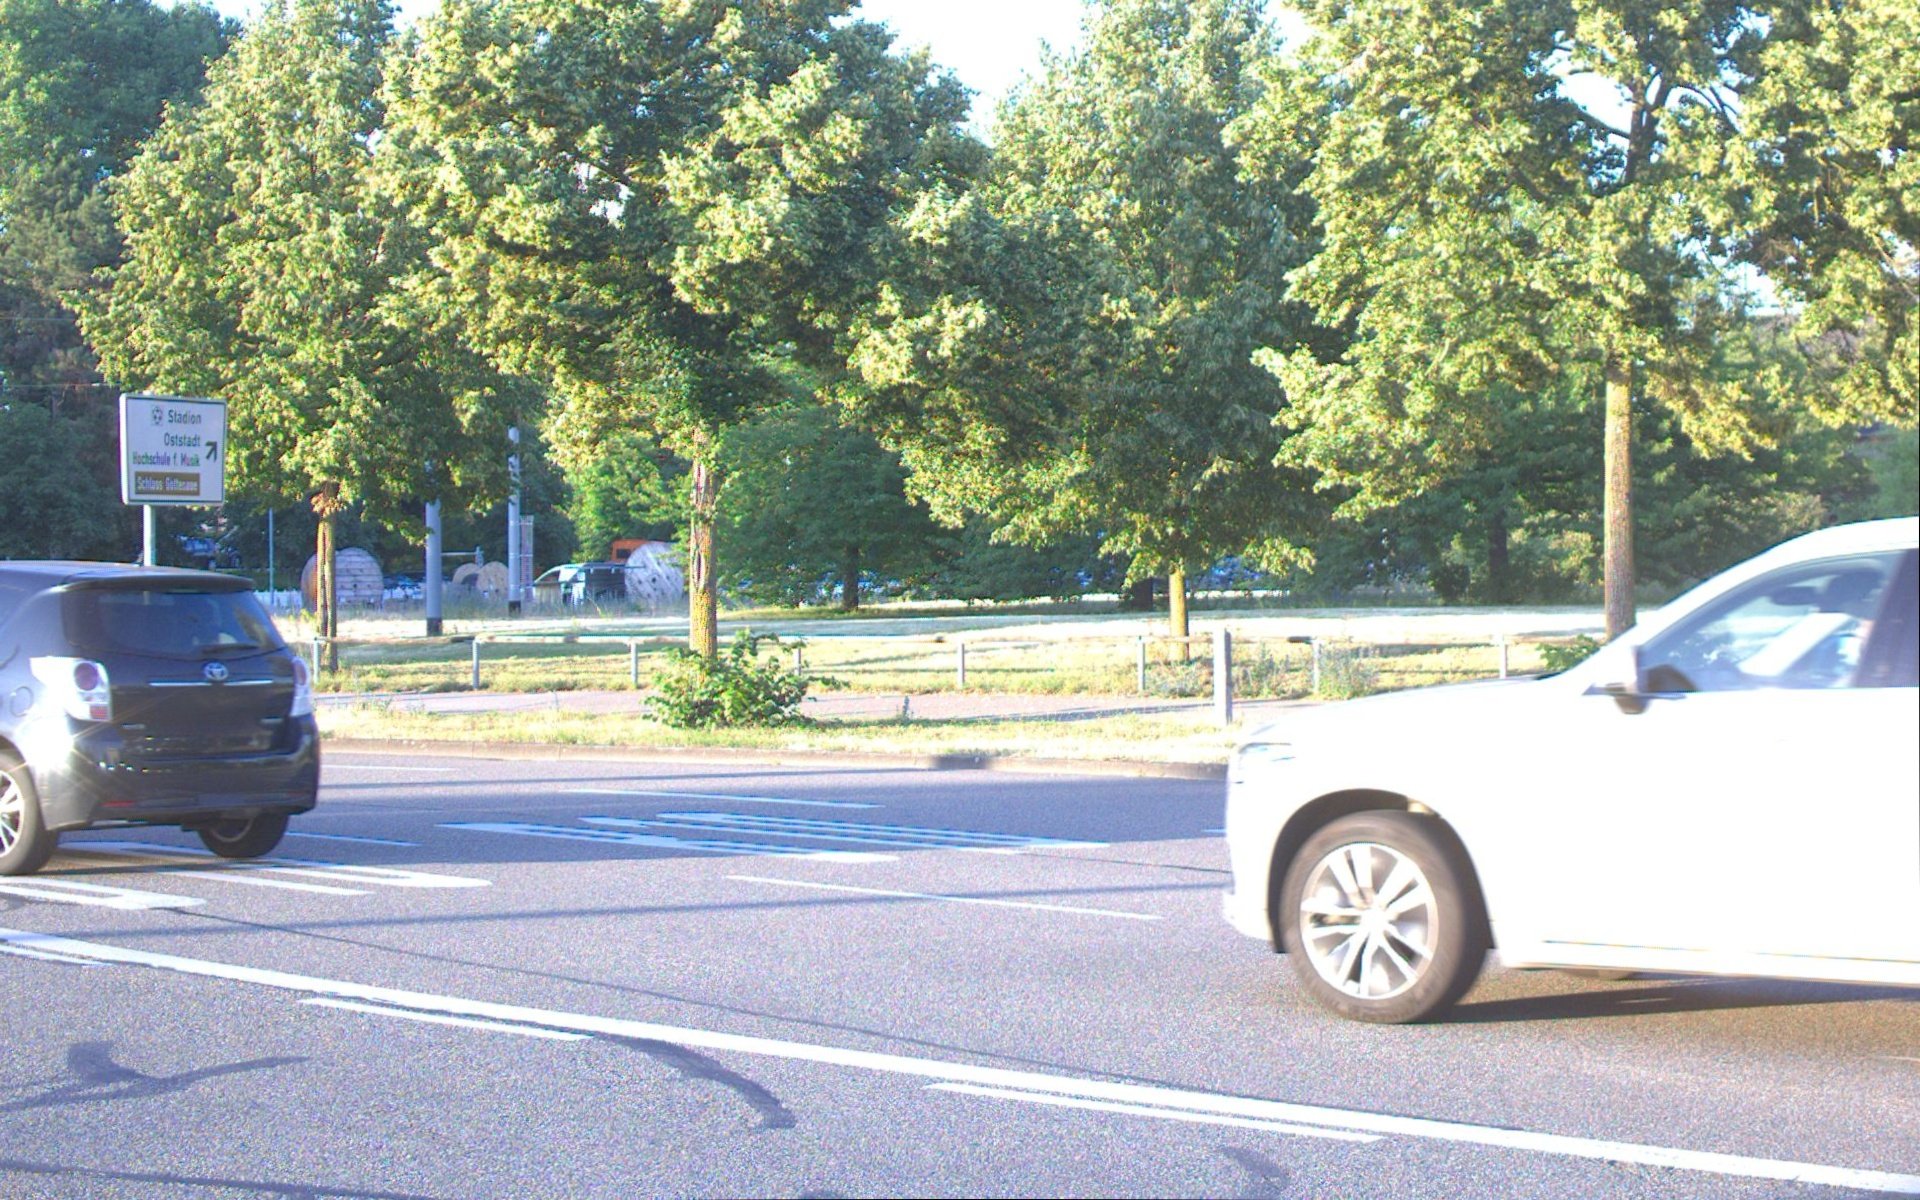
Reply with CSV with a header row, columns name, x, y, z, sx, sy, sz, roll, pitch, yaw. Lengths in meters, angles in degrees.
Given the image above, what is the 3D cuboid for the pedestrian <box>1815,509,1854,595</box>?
name,x,y,z,sx,sy,sz,roll,pitch,yaw
pedestrian,16.558,-0.906,65.106,0.532,1.621,0.579,0,1,38

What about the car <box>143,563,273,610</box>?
name,x,y,z,sx,sy,sz,roll,pitch,yaw
car,-25.385,-0.469,116.038,3.994,1.545,1.997,0,1,31

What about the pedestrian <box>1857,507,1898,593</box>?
name,x,y,z,sx,sy,sz,roll,pitch,yaw
pedestrian,17.346,-0.945,65.010,0.530,1.621,0.619,0,1,39

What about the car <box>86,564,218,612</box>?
name,x,y,z,sx,sy,sz,roll,pitch,yaw
car,-26.843,-0.413,114.203,3.994,1.545,1.997,0,1,31

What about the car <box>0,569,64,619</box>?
name,x,y,z,sx,sy,sz,roll,pitch,yaw
car,-30.315,-0.200,107.976,3.994,1.545,1.997,0,1,31

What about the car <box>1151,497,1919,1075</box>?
name,x,y,z,sx,sy,sz,roll,pitch,yaw
car,3.225,0.562,11.345,4.915,1.748,1.919,0,0,35

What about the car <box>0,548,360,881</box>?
name,x,y,z,sx,sy,sz,roll,pitch,yaw
car,-5.489,0.549,18.844,4.451,1.627,1.799,0,0,37
